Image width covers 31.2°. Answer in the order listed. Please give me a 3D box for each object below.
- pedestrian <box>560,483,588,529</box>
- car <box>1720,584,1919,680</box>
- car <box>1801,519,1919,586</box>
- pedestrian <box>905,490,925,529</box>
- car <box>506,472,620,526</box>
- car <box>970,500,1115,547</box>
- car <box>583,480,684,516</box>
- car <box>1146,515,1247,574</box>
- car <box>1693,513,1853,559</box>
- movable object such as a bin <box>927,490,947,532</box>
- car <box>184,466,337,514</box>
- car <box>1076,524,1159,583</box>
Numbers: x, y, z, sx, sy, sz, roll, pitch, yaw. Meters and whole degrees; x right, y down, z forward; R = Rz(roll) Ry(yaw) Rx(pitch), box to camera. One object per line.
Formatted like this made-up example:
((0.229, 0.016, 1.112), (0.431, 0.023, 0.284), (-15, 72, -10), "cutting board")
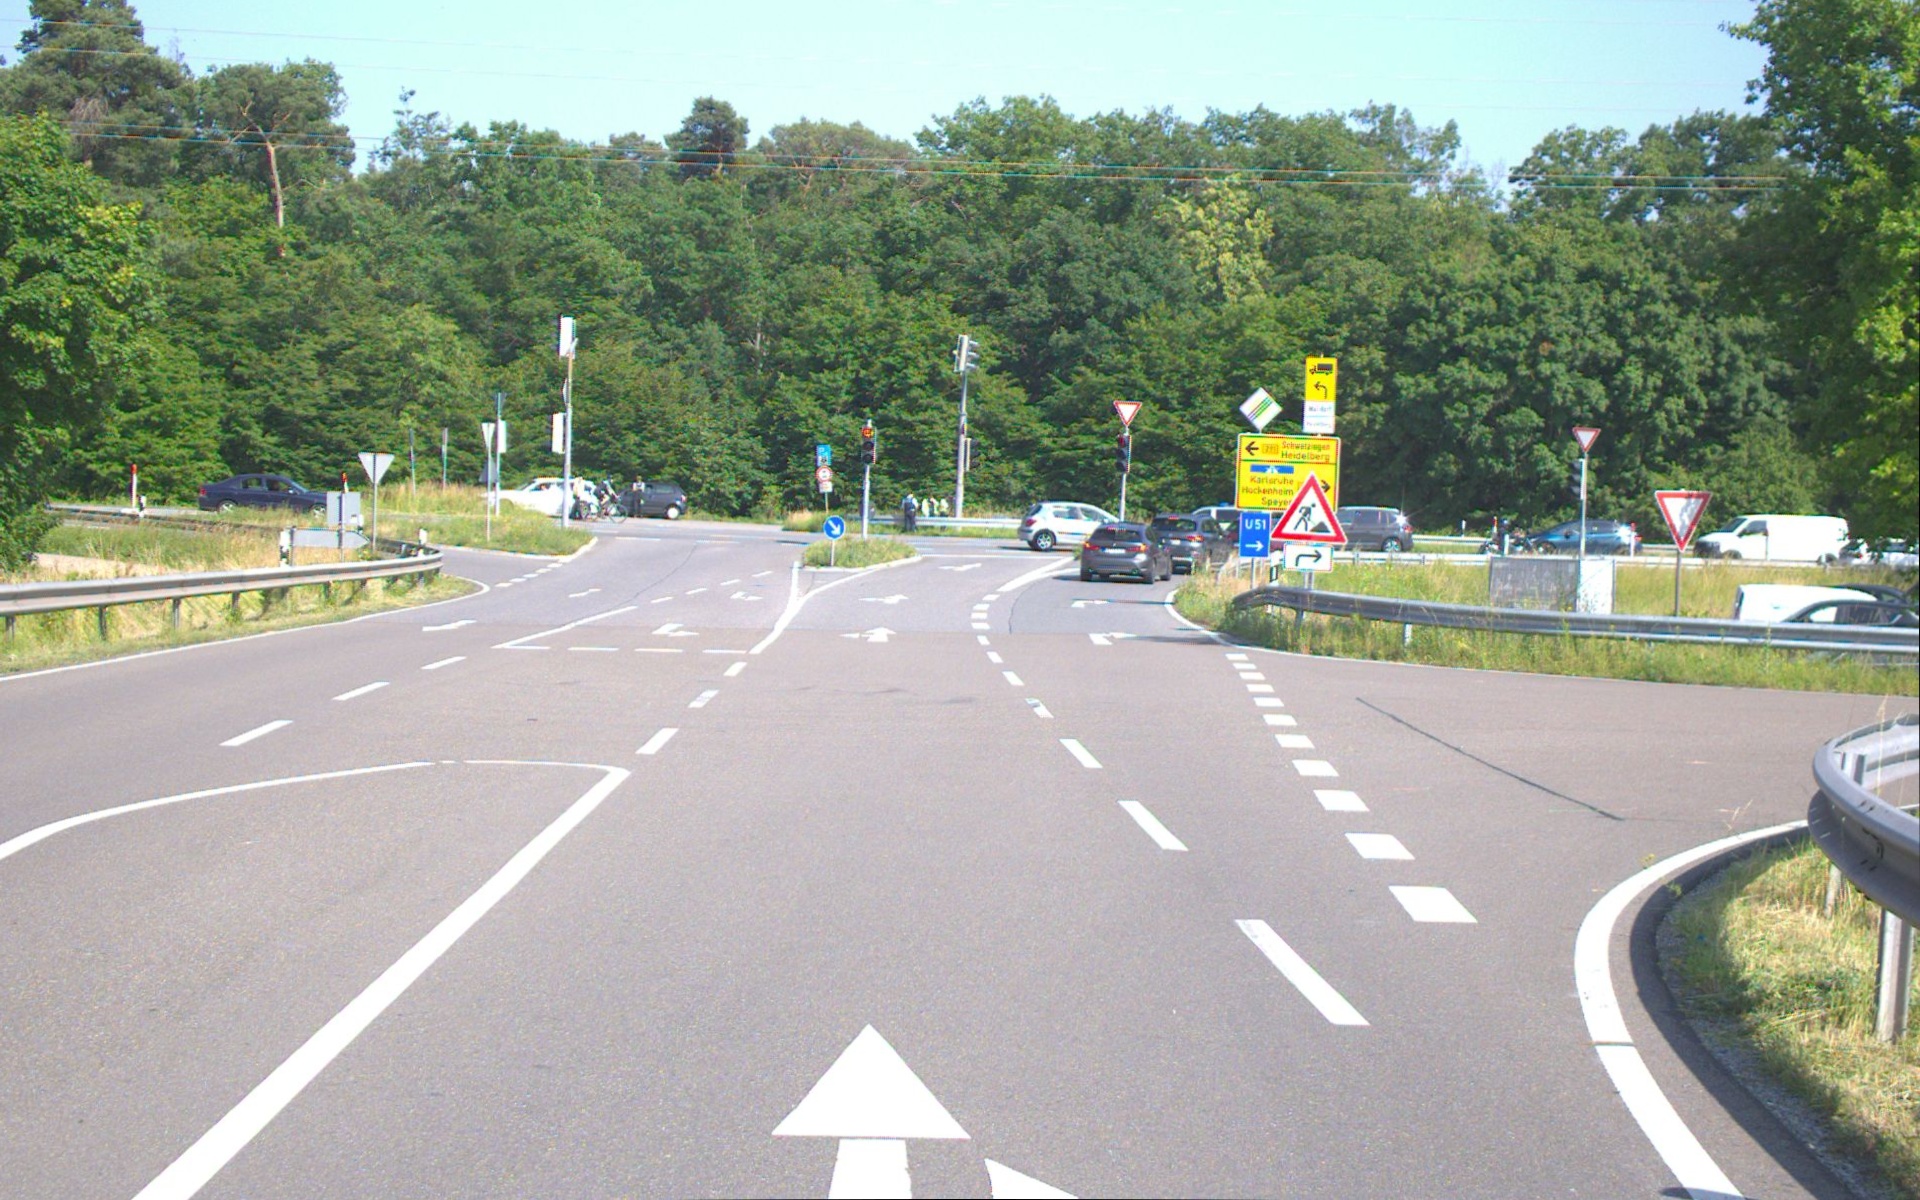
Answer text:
((-14.489, -3.537, 129.056), (0.678, 1.715, 0.757), (2, 2, 39), "pedestrian")
((18.769, 0.682, 74.584), (4.357, 1.777, 1.901), (3, 2, 12), "car")
((29.138, -1.511, 109.825), (3.986, 2.006, 1.801), (1, 2, -4), "car")
((-1.591, -3.247, 122.795), (0.524, 1.386, 0.513), (1, 1, 30), "pedestrian")
((-15.039, -3.818, 130.281), (3.986, 2.007, 1.796), (0, 1, -21), "car")
((2.521, -2.362, 106.195), (4.227, 1.454, 2.001), (0, 1, -7), "car")
((-13.046, -4.067, 137.111), (3.986, 1.417, 1.796), (0, 1, -6), "car")
((6.354, -1.488, 92.142), (1.801, 1.495, 3.997), (3, 2, 17), "car")
((27.613, -2.182, 116.843), (4.880, 1.546, 2.001), (0, 1, -6), "car")
((-0.819, -3.195, 123.315), (0.602, 1.483, 0.732), (0, 1, 7), "movable object such as a bin")
((-21.140, -3.318, 104.026), (4.363, 1.454, 2.001), (0, 1, -7), "car")
((3.902, -1.161, 84.693), (1.800, 1.393, 3.999), (0, 1, 6), "car")
